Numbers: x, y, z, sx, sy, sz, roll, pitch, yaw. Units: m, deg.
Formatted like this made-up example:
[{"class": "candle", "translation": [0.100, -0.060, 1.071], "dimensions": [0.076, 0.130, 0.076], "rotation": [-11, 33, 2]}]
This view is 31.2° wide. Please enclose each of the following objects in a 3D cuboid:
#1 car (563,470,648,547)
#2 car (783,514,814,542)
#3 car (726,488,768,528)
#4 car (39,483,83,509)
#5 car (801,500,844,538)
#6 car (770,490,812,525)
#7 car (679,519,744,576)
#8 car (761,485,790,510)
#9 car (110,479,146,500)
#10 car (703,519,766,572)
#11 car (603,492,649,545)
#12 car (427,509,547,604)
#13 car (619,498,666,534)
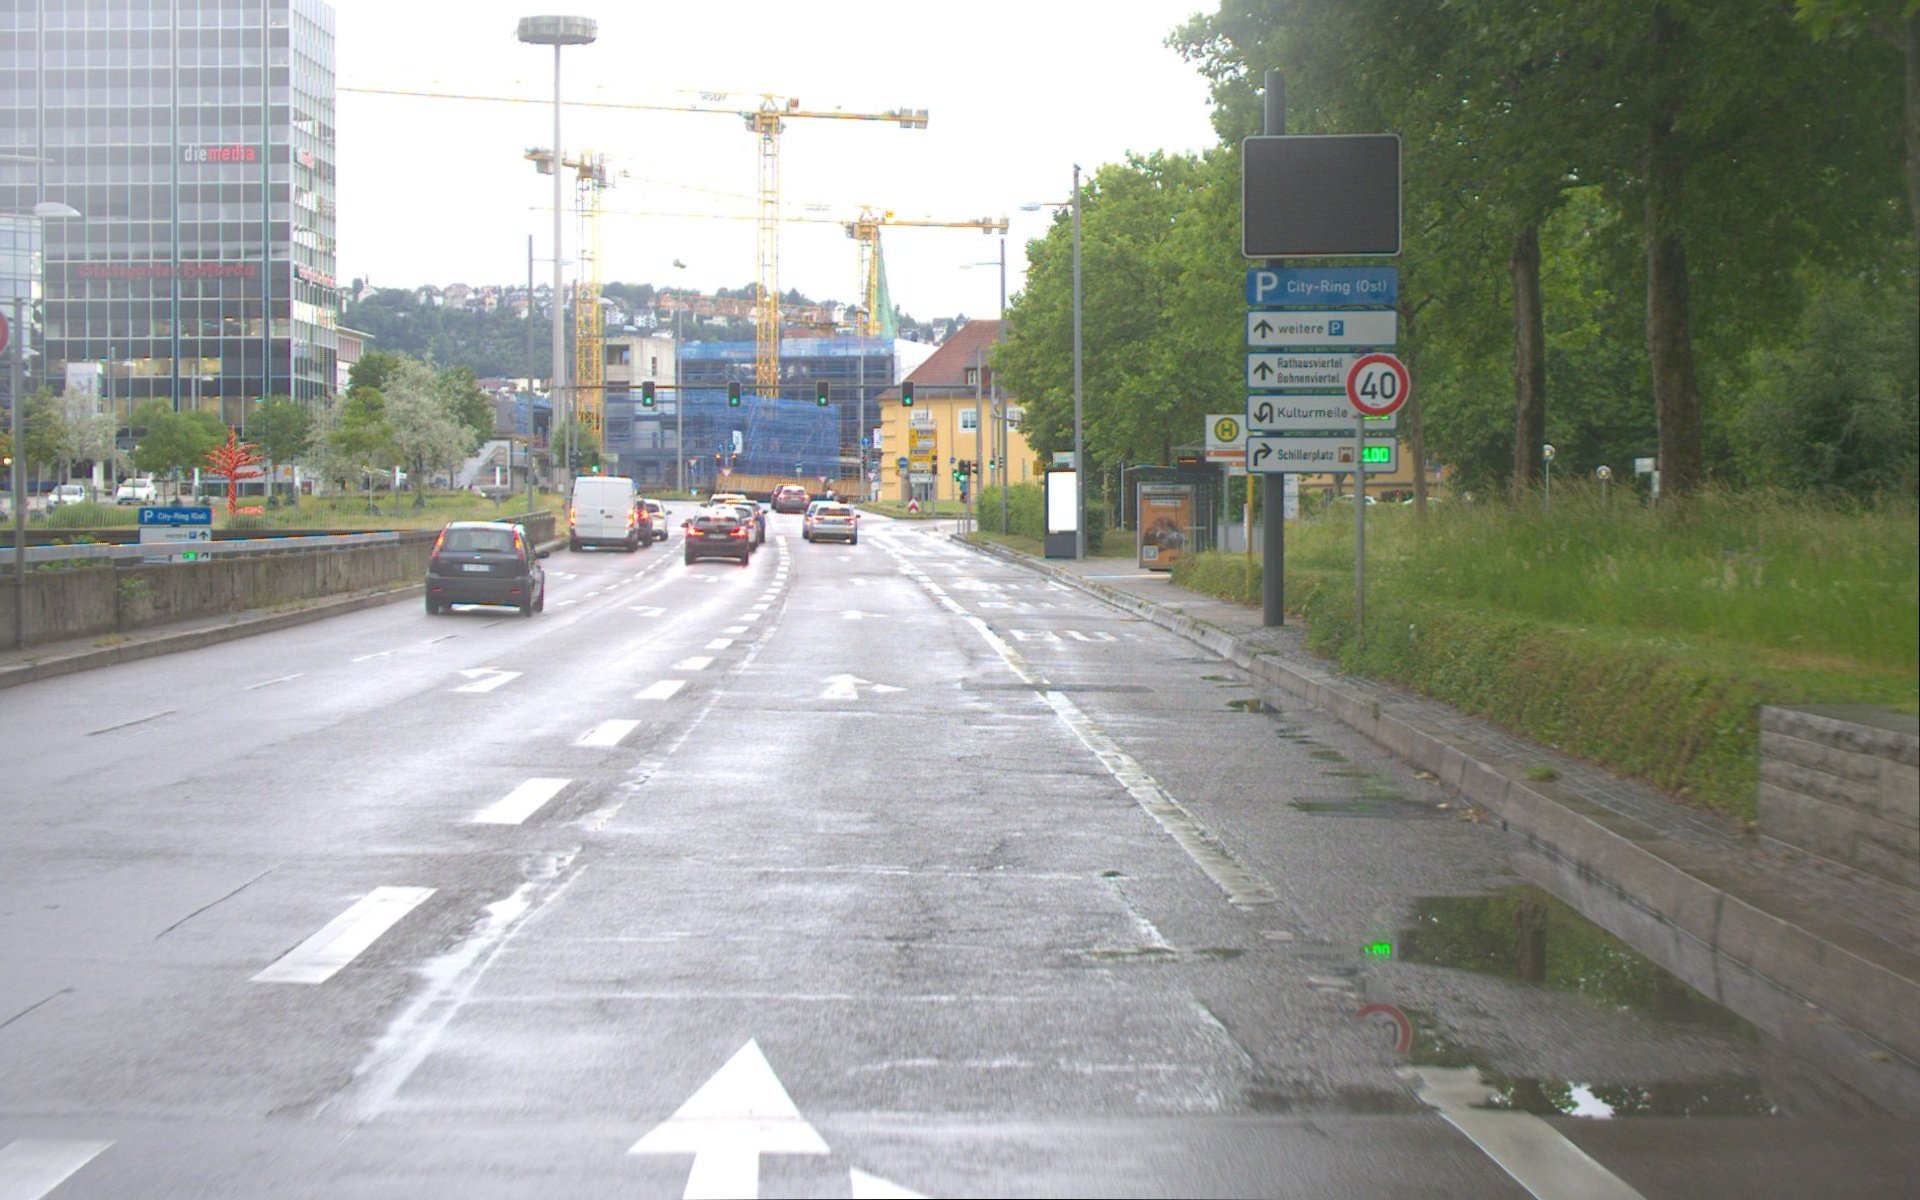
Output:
[{"class": "car", "translation": [-11.101, -2.846, 107.942], "dimensions": [2.292, 2.306, 5.006], "rotation": [1, 1, -2]}, {"class": "car", "translation": [-6.211, -2.773, 132.238], "dimensions": [1.076, 0.987, 1.972], "rotation": [1, 0, 0]}, {"class": "car", "translation": [-7.723, -3.333, 124.857], "dimensions": [1.493, 1.365, 3.034], "rotation": [1, 1, -3]}, {"class": "car", "translation": [-45.774, -5.274, 175.079], "dimensions": [1.408, 1.250, 3.166], "rotation": [1, 1, 0]}, {"class": "car", "translation": [-5.030, -2.956, 125.828], "dimensions": [1.444, 1.354, 2.412], "rotation": [1, 1, 0]}, {"class": "car", "translation": [-9.482, -5.211, 193.285], "dimensions": [2.161, 1.873, 3.771], "rotation": [1, 1, 0]}, {"class": "car", "translation": [-7.037, -1.502, 97.408], "dimensions": [1.753, 1.466, 4.223], "rotation": [1, 2, -4]}, {"class": "car", "translation": [-11.017, -6.117, 205.481], "dimensions": [1.479, 1.355, 3.136], "rotation": [1, 1, 1]}, {"class": "car", "translation": [-47.338, -6.307, 195.662], "dimensions": [1.440, 1.110, 3.021], "rotation": [1, 1, -3]}, {"class": "car", "translation": [-7.381, -1.768, 112.277], "dimensions": [1.880, 1.647, 3.459], "rotation": [1, 1, -6]}, {"class": "car", "translation": [-11.106, -2.695, 114.530], "dimensions": [1.464, 1.700, 3.142], "rotation": [1, 1, -5]}, {"class": "car", "translation": [-7.429, -0.690, 54.257], "dimensions": [1.542, 1.410, 3.902], "rotation": [1, 1, -3]}, {"class": "car", "translation": [-11.434, -3.027, 123.965], "dimensions": [1.551, 1.256, 2.581], "rotation": [1, 1, -3]}]
